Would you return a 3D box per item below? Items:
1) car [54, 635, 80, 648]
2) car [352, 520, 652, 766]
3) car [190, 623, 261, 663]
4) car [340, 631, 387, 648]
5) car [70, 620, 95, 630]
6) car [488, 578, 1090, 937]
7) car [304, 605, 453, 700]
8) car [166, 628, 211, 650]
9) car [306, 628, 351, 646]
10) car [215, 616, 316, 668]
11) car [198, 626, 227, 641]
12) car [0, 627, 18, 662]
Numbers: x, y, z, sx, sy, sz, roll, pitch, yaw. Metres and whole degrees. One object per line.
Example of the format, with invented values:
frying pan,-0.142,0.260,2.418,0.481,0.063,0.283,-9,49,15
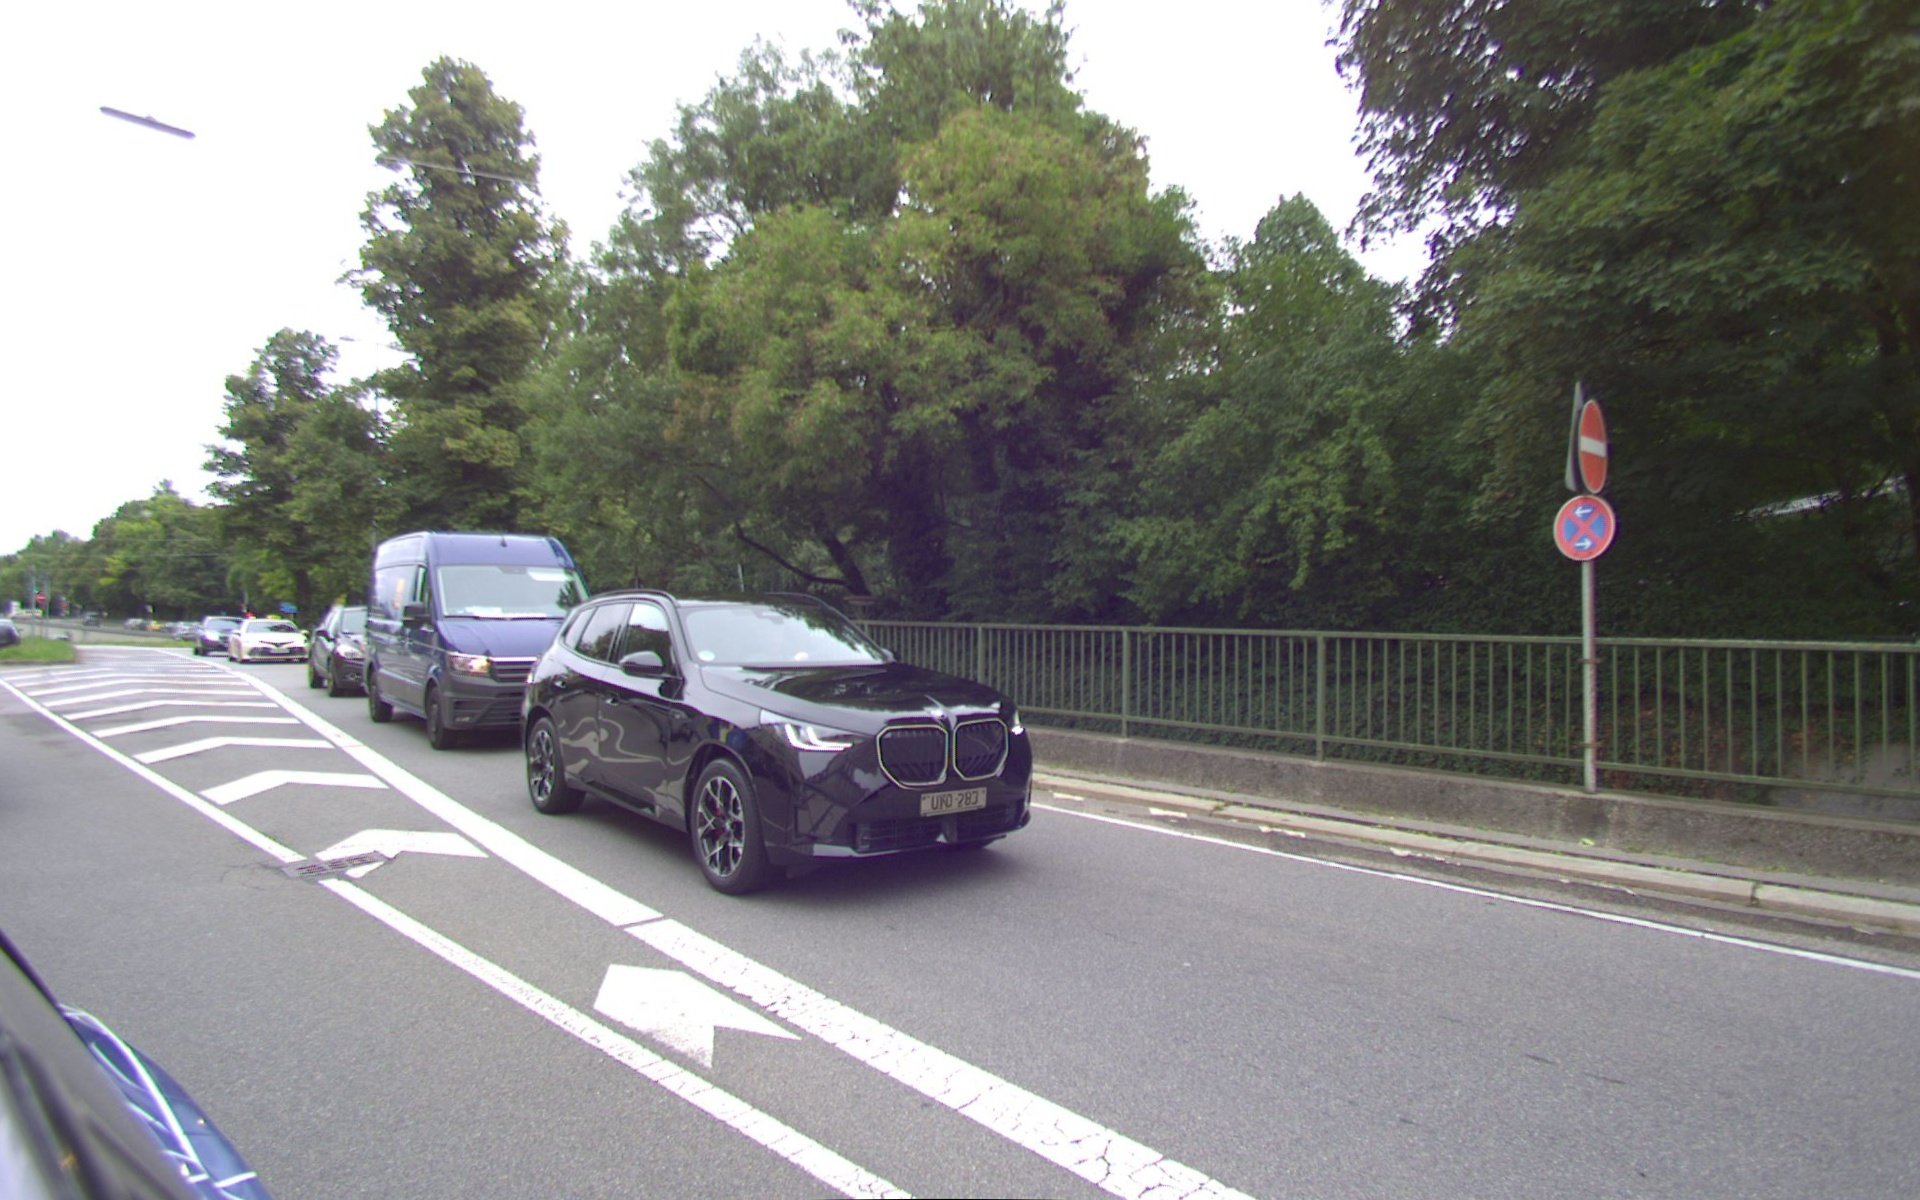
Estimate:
car,-107.267,4.987,121.588,3.998,1.570,1.841,-1,-2,41
car,-6.209,0.472,13.192,2.156,2.482,5.863,1,-1,-39
car,-31.048,1.783,42.747,1.963,1.577,4.278,2,-2,-42
car,-51.418,3.391,87.216,4.519,1.457,1.974,-1,-3,38
car,-129.366,3.750,149.188,4.025,1.457,1.874,-1,-3,36
car,-1.542,0.733,6.984,1.889,1.598,4.838,2,-1,-40
car,-11.420,0.972,19.749,1.961,1.640,4.282,2,-2,-37
car,-65.603,3.301,86.026,4.519,1.765,1.975,-1,-1,38
car,-57.425,3.351,91.986,4.700,1.546,1.974,-1,-3,38
car,-22.846,1.354,33.226,1.964,1.577,4.658,2,-2,-44
car,-84.402,3.766,114.251,3.998,1.759,1.860,-1,-2,41
car,-46.161,2.091,48.171,1.876,1.577,4.775,2,-2,-43
